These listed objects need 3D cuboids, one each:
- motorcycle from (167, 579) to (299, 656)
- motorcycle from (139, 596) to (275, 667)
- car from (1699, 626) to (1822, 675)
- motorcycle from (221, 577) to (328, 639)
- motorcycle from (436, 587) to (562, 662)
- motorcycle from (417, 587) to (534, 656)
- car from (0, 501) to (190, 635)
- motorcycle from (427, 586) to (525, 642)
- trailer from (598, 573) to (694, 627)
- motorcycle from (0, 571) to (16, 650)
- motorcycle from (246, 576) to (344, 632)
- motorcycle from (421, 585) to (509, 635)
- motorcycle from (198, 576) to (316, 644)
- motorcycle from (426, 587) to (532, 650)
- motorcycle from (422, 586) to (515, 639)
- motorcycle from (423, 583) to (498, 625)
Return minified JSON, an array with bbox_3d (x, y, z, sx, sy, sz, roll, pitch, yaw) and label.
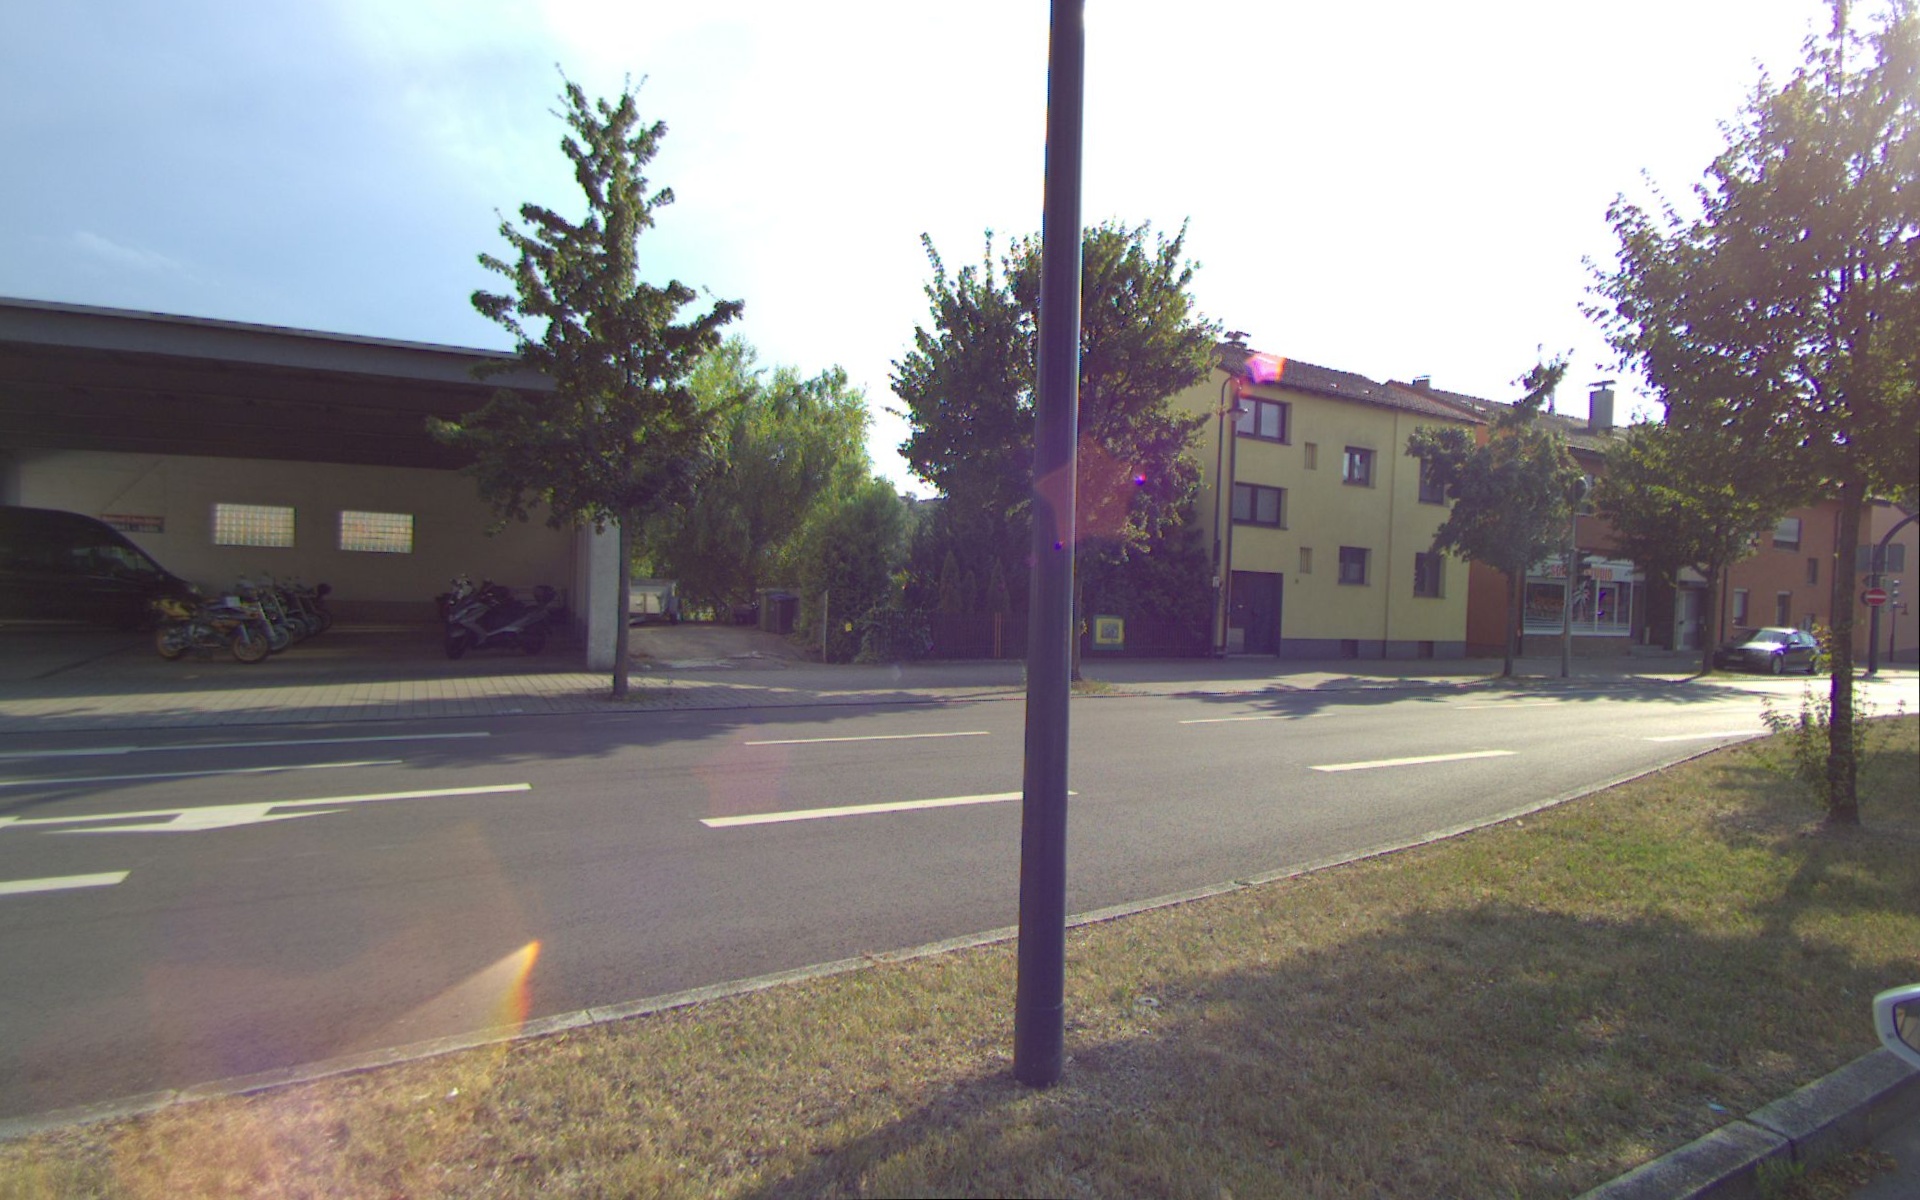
[{"bbox_3d":[-13.643,0.319,18.856,2.219,1.354,0.631,1,0,10],"label":"motorcycle"},{"bbox_3d":[-12.508,0.504,16.691,1.993,1.101,0.631,1,0,12],"label":"motorcycle"},{"bbox_3d":[25.957,1.597,32.550,3.953,1.319,1.728,1,4,-30],"label":"car"},{"bbox_3d":[-15.896,0.182,23.308,2.219,1.354,0.631,1,0,10],"label":"motorcycle"},{"bbox_3d":[-8.630,0.431,18.891,0.621,1.314,2.113,1,2,36],"label":"motorcycle"},{"bbox_3d":[-9.823,0.402,20.454,0.621,1.314,2.113,1,2,36],"label":"motorcycle"},{"bbox_3d":[-20.464,-0.681,22.086,1.962,2.789,5.280,1,0,26],"label":"car"},{"bbox_3d":[-11.778,0.313,24.532,0.621,1.314,2.113,1,2,36],"label":"motorcycle"},{"bbox_3d":[-8.229,-0.006,26.612,1.698,1.280,3.995,1,0,-7],"label":"trailer"},{"bbox_3d":[-17.298,0.169,16.719,0.619,1.380,2.225,1,0,24],"label":"motorcycle"},{"bbox_3d":[-16.920,0.103,25.567,2.219,1.354,0.631,1,0,10],"label":"motorcycle"},{"bbox_3d":[-13.524,0.241,27.513,0.621,1.314,2.113,1,2,36],"label":"motorcycle"},{"bbox_3d":[-14.764,0.205,21.099,2.219,1.354,0.631,1,0,10],"label":"motorcycle"},{"bbox_3d":[-10.753,0.384,22.531,0.621,1.314,2.113,1,2,36],"label":"motorcycle"},{"bbox_3d":[-12.660,0.293,25.915,0.621,1.314,2.113,1,2,36],"label":"motorcycle"},{"bbox_3d":[-15.971,0.102,32.171,0.621,1.314,2.113,1,2,36],"label":"motorcycle"}]
